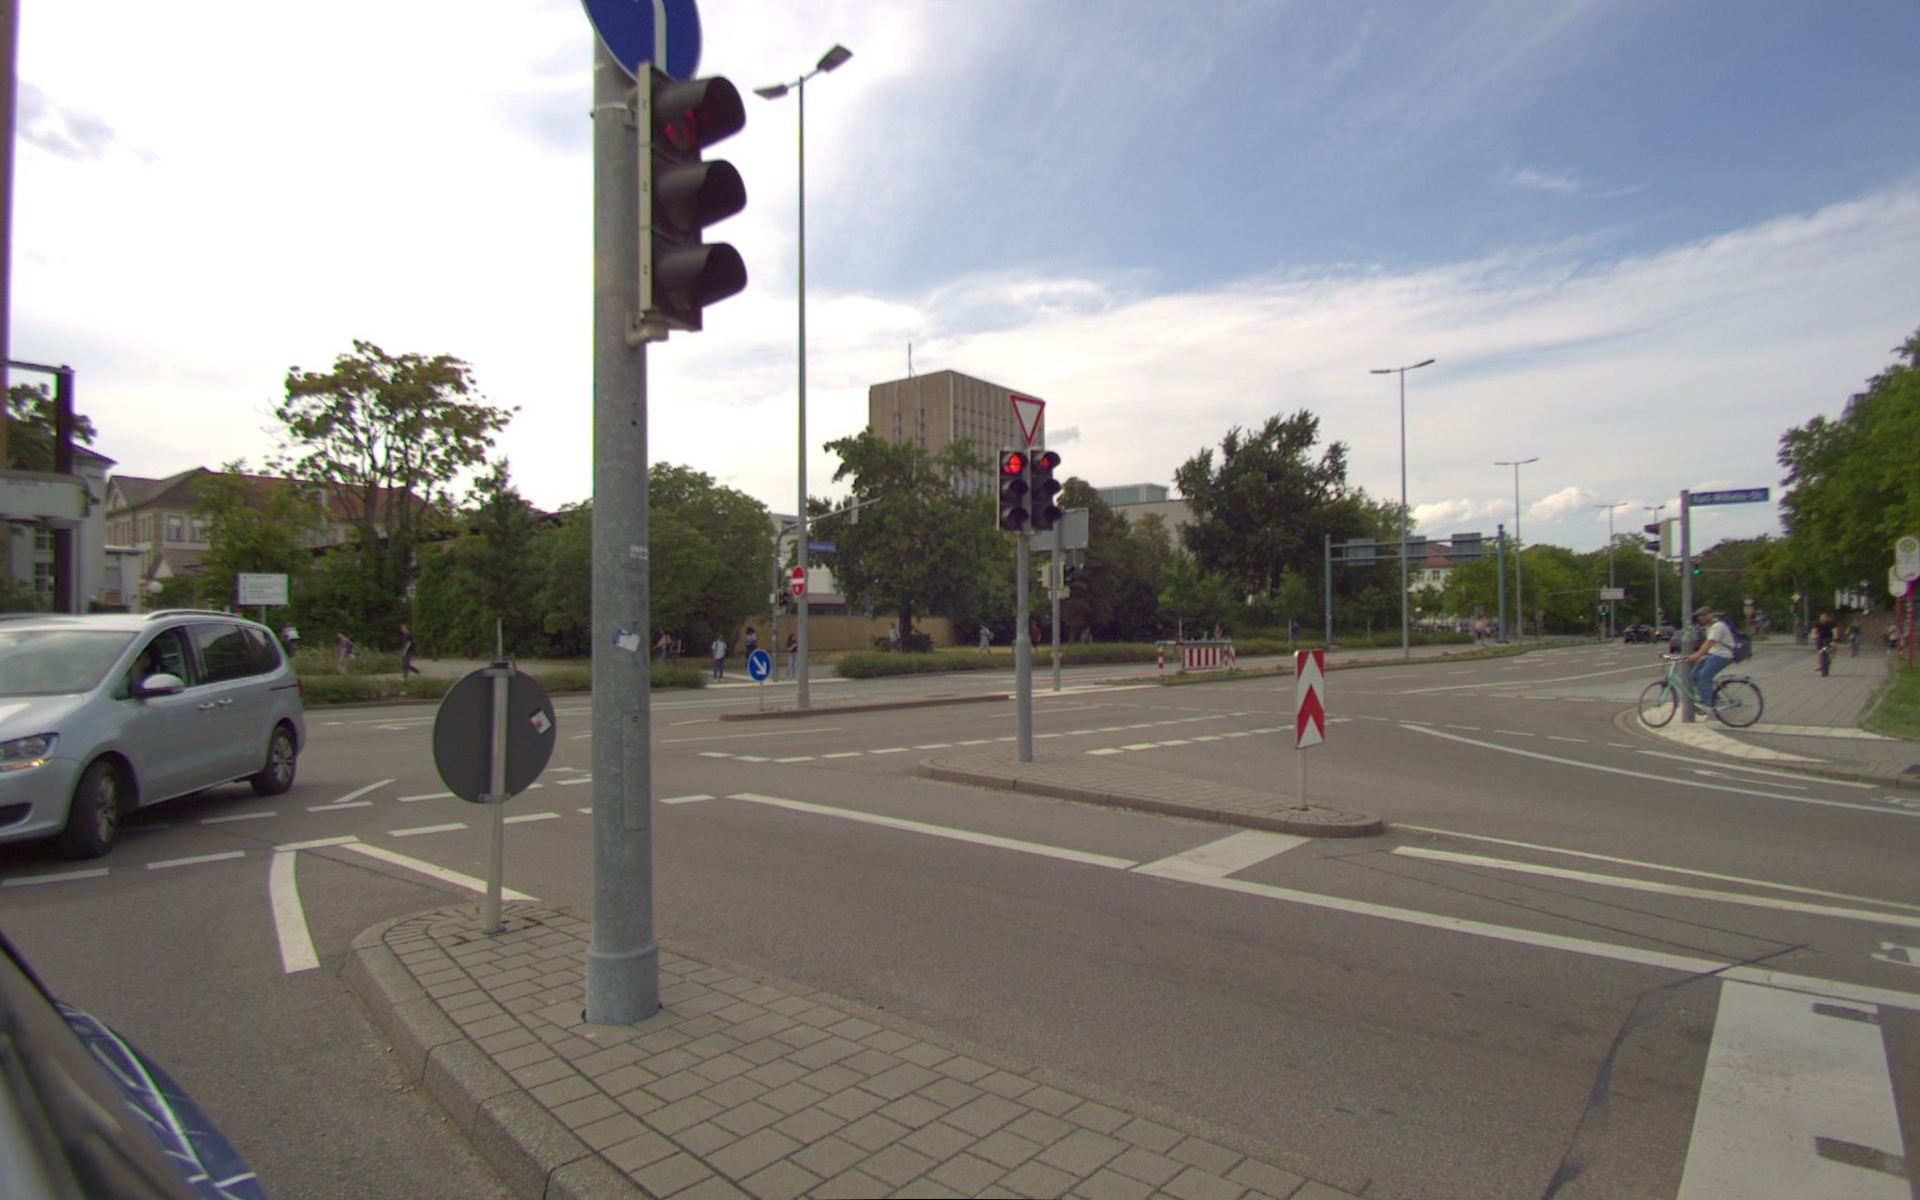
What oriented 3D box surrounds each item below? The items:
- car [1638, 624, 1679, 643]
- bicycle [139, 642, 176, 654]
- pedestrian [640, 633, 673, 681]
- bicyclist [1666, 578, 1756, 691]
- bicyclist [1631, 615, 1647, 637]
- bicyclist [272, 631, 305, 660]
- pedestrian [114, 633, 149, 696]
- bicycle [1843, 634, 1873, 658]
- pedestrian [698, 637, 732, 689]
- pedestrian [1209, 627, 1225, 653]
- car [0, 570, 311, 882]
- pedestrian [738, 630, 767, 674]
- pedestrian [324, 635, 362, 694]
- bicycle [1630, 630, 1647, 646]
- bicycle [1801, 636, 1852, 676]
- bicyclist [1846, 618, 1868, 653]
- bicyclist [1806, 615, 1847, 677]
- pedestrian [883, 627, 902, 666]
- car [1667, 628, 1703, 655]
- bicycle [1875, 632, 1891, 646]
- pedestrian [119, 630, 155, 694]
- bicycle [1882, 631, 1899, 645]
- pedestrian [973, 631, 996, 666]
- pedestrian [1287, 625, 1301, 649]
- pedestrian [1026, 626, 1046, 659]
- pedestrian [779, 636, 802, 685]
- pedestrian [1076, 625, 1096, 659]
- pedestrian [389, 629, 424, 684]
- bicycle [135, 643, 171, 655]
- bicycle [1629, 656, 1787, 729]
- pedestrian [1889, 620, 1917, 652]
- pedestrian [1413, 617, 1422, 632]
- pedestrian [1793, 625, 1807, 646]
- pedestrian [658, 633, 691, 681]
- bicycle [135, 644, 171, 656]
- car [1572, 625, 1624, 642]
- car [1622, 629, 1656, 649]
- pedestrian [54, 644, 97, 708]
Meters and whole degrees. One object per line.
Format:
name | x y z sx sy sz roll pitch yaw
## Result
car | 62.119 2.963 90.051 1.774 1.501 4.108 1 0 16
bicycle | -50.067 3.005 63.129 1.816 0.699 0.653 0 -4 -40
pedestrian | -11.318 2.114 37.746 0.835 1.724 0.792 -4 -3 27
bicyclist | 10.892 0.492 14.696 0.786 1.567 0.580 -2 -1 -4
bicyclist | 53.223 2.028 79.322 0.779 1.724 1.070 0 -2 45
bicyclist | -31.033 2.118 46.795 1.005 1.287 0.834 -3 -3 18
pedestrian | -23.001 1.782 28.095 0.698 1.724 0.640 1 -4 -45
bicycle | 40.863 2.086 46.044 1.939 0.943 0.507 -2 -1 -34
pedestrian | -8.339 2.129 34.424 0.827 1.724 0.801 0 -4 -42
pedestrian | 17.227 2.677 67.851 0.714 1.724 0.685 -5 -4 42
car | -6.799 0.851 7.658 1.795 1.747 4.540 -2 -3 -14
pedestrian | -8.187 2.047 39.971 0.714 1.724 0.789 -4 -4 39
pedestrian | -18.486 1.926 30.328 0.788 1.724 0.840 1 -4 -45
bicycle | 53.153 2.983 79.250 0.759 1.198 2.068 0 -2 44
bicycle | 22.999 1.476 26.852 1.939 0.943 0.507 -2 -1 -34
bicyclist | 40.803 1.615 46.027 0.784 1.567 0.496 -2 -1 -34
bicyclist | 22.985 1.212 26.855 0.784 1.567 0.581 -2 -1 -34
pedestrian | -3.033 2.080 45.667 0.544 1.709 0.686 0 -1 39
car | 44.924 2.546 62.668 1.697 1.491 4.361 -4 -3 36
bicycle | 61.848 2.602 67.822 0.432 0.894 1.559 -5 -4 31
pedestrian | -22.422 1.685 27.583 0.698 1.724 0.640 1 -4 -45
bicycle | 60.894 2.470 66.211 0.432 0.894 1.559 -5 -4 31
pedestrian | 1.191 2.394 50.077 0.841 1.724 0.686 -4 -4 39
pedestrian | 25.058 2.771 75.903 0.714 1.724 0.685 -5 -4 42
pedestrian | 3.970 2.224 52.862 0.714 1.724 0.685 -5 -4 42
pedestrian | -5.969 2.128 35.683 0.579 1.724 0.482 0 -4 -42
pedestrian | 6.522 2.172 52.395 0.683 1.724 0.735 1 -4 -45
pedestrian | -17.889 1.835 32.702 0.788 1.724 0.840 1 -4 -45
bicycle | -51.141 3.108 64.133 1.816 0.699 0.653 0 -4 -40
bicycle | 10.852 1.331 14.703 1.942 0.943 0.506 -2 -1 -4
pedestrian | 48.413 1.854 51.955 0.749 1.634 0.661 -3 -3 19
pedestrian | 55.154 2.946 122.077 0.769 1.724 0.685 -5 -4 42
pedestrian | 66.348 2.785 79.925 0.753 1.634 0.657 -4 -3 37
pedestrian | -10.513 2.101 37.308 0.835 1.724 0.792 -4 -3 27
bicycle | -53.354 3.308 66.914 1.816 0.699 0.653 0 -4 -40
car | 62.434 3.272 99.147 1.759 1.501 4.143 1 0 -17
car | 55.632 3.148 82.858 1.790 1.501 4.072 0 0 42
pedestrian | -22.726 1.925 26.005 0.788 1.554 0.840 1 0 -45
